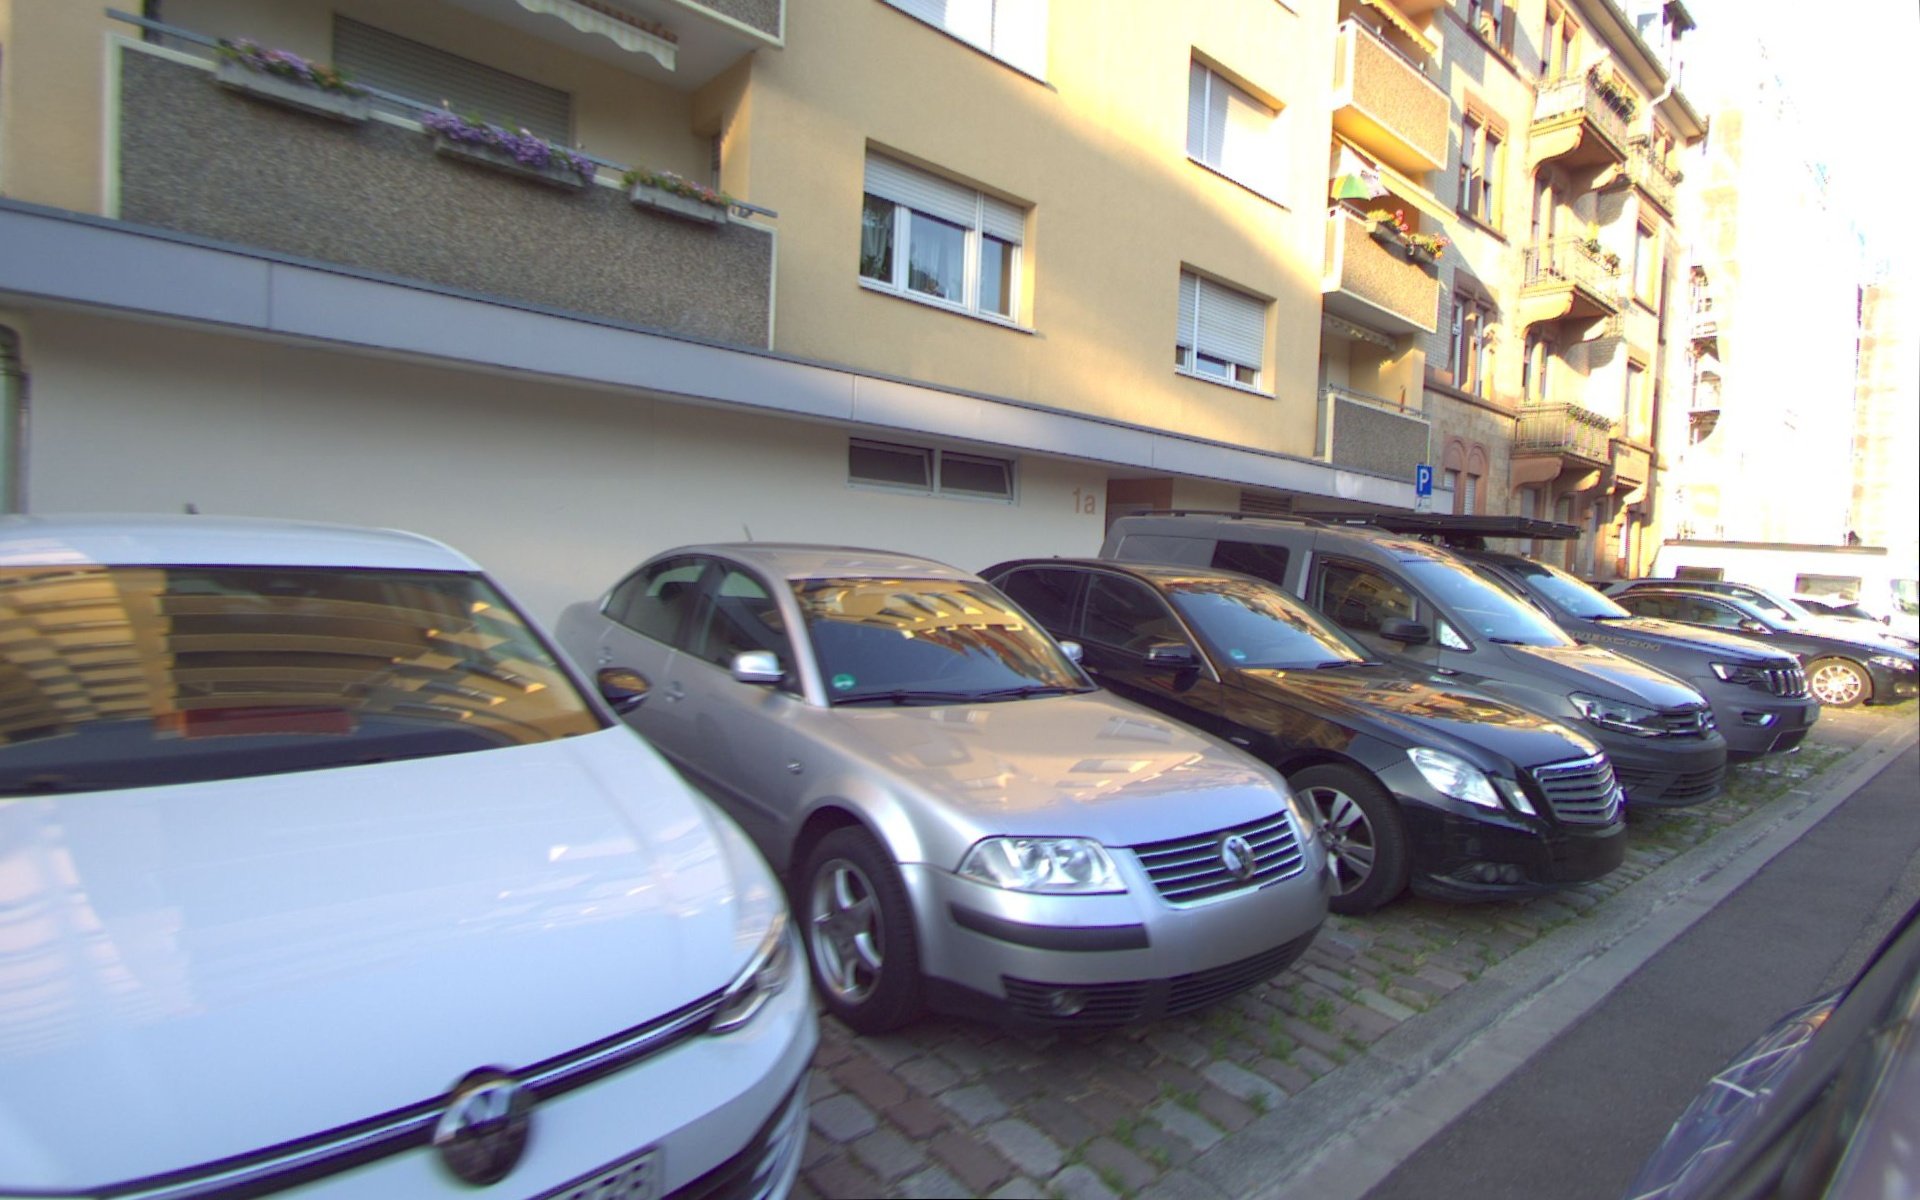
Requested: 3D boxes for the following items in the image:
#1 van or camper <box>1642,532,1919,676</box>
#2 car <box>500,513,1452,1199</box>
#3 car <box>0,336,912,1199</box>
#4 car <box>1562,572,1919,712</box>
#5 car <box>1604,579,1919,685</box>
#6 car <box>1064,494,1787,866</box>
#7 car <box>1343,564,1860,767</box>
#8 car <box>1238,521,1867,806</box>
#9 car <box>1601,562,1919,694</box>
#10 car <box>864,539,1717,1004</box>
[{"bbox_3d":[17.730,0.032,20.489,2.014,2.534,6.074,1,4,-40],"label":"van or camper"},{"bbox_3d":[-0.448,0.452,4.580,1.814,1.611,4.414,-2,5,-41],"label":"car"},{"bbox_3d":[-2.231,0.350,3.158,1.814,1.650,4.414,-2,5,-41],"label":"car"},{"bbox_3d":[11.893,0.494,15.274,1.813,1.572,4.415,-2,5,-40],"label":"car"},{"bbox_3d":[15.077,0.492,19.267,1.813,1.638,4.414,-2,3,-39],"label":"car"},{"bbox_3d":[3.137,0.243,7.761,1.814,2.004,4.647,-2,5,-41],"label":"car"},{"bbox_3d":[6.755,0.495,11.145,1.812,1.572,4.417,-2,5,-38],"label":"car"},{"bbox_3d":[5.027,0.308,9.197,1.813,1.885,4.523,0,4,-41],"label":"car"},{"bbox_3d":[13.673,0.380,17.084,1.813,1.769,4.414,1,3,-40],"label":"car"},{"bbox_3d":[1.467,0.503,5.927,1.814,1.581,4.414,-2,5,-41],"label":"car"}]
